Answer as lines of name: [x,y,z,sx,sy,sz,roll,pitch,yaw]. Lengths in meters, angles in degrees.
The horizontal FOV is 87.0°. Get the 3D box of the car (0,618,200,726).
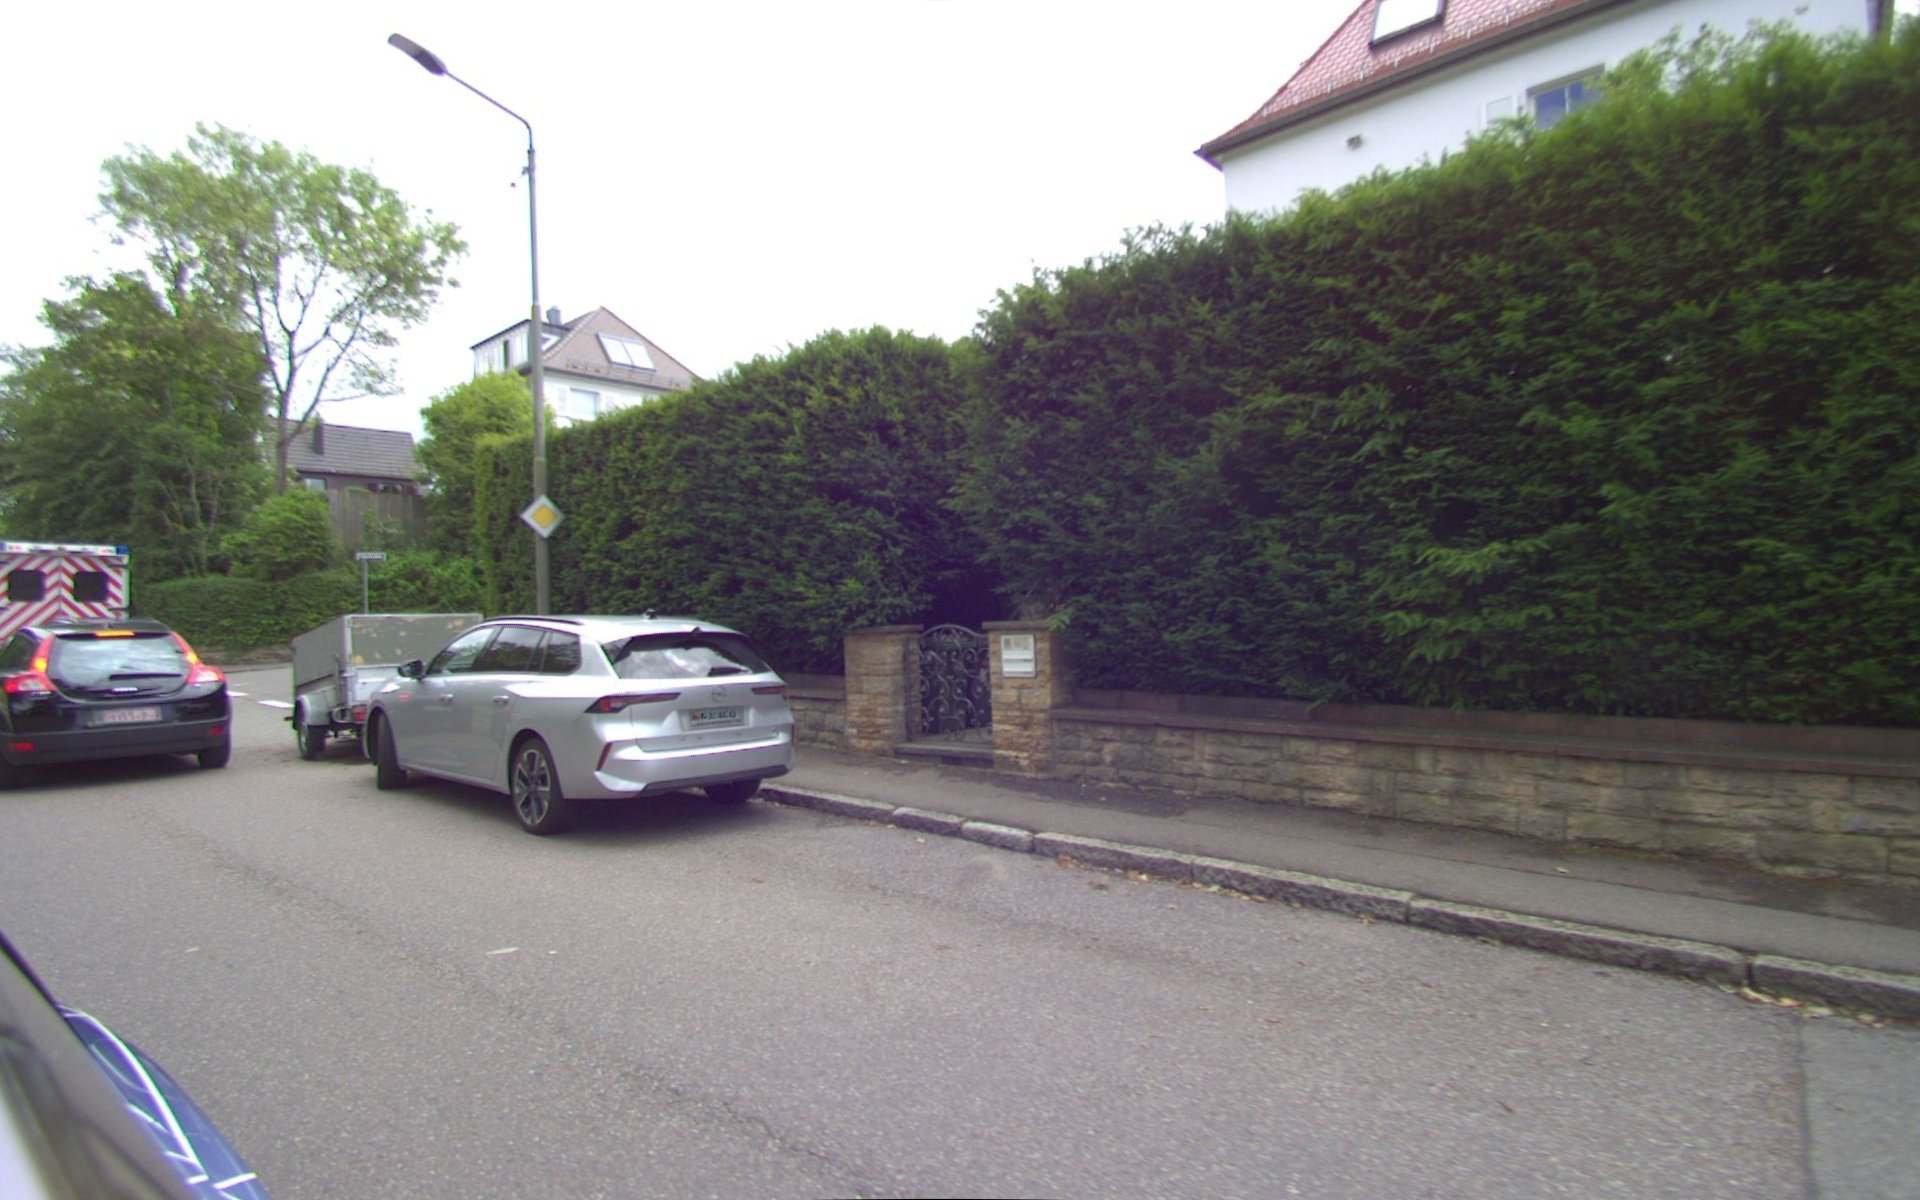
car: [-13.763,1.042,15.981,4.467,1.457,1.746,-1,-1,38]

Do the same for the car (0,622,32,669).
car: [-32.637,1.497,33.977,4.058,1.516,1.702,-1,-2,41]

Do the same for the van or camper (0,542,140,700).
van or camper: [-19.783,0.452,21.719,7.167,2.917,2.429,-1,-1,43]

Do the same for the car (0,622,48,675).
car: [-29.175,1.420,30.749,4.863,1.516,1.778,-1,-2,43]

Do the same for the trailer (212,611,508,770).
trailer: [-7.137,0.920,11.828,4.472,1.507,1.744,-2,-1,42]

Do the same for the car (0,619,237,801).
car: [-8.982,0.943,10.245,4.471,1.457,1.745,-2,-1,41]

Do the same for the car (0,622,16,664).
car: [-35.789,1.543,36.838,4.006,1.516,1.702,-1,-2,42]

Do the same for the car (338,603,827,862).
car: [-3.199,0.837,8.074,4.471,1.511,1.745,-1,-2,41]
